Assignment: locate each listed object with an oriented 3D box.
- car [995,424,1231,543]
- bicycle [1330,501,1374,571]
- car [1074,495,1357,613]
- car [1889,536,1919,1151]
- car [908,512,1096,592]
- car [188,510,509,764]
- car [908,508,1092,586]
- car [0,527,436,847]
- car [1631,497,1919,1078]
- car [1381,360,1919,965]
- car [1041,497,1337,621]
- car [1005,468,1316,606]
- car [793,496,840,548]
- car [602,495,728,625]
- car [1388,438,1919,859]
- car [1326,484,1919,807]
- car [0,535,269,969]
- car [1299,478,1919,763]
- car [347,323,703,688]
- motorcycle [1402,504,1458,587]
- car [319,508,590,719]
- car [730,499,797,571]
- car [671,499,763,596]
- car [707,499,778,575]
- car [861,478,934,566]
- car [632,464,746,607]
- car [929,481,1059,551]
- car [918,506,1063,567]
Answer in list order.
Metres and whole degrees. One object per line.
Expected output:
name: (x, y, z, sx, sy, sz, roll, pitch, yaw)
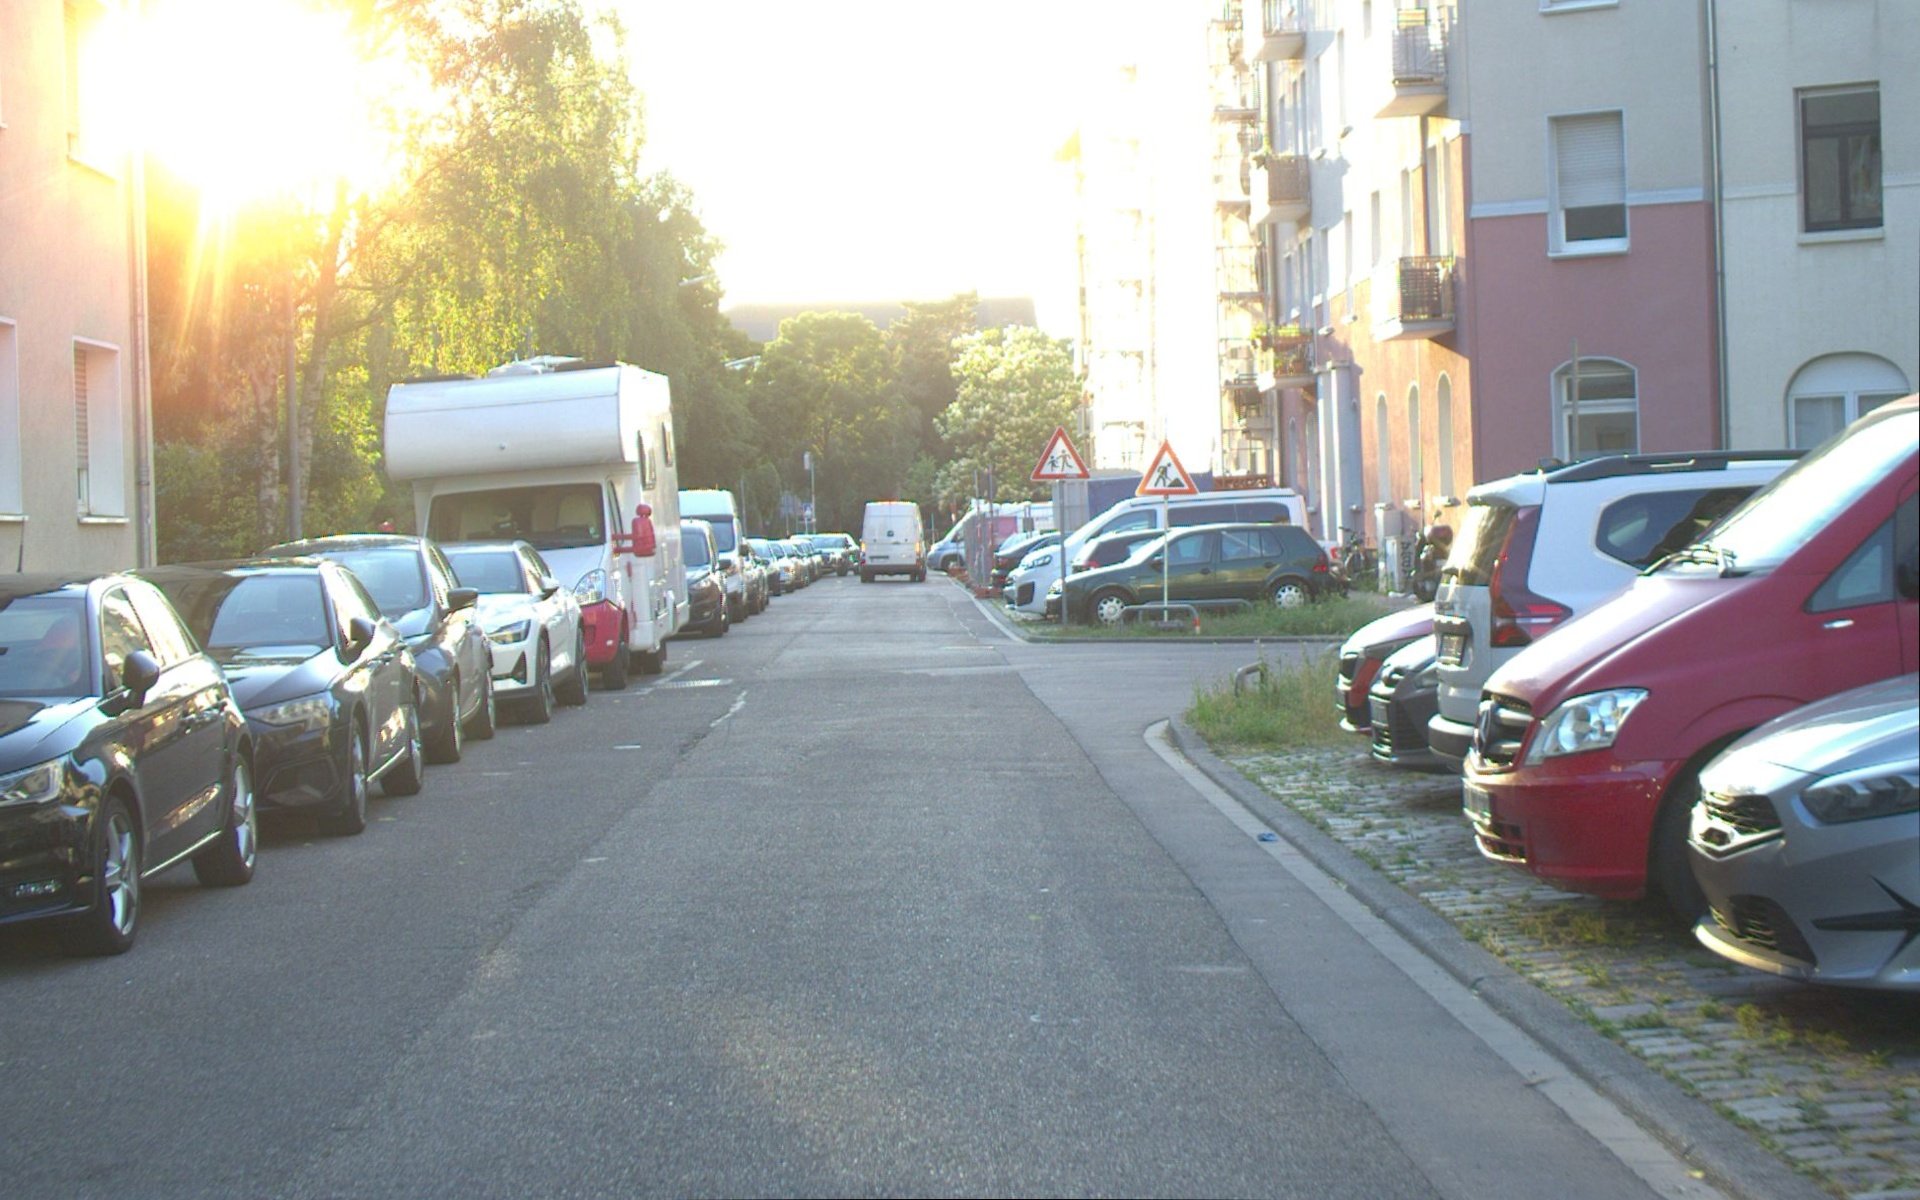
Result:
car: (2.726, -2.088, 61.901, 3.986, 2.006, 2.000, -2, 2, -4)
bicycle: (7.136, -1.177, 62.642, 0.517, 1.224, 1.981, -1, 2, -1)
car: (3.756, -0.697, 50.985, 3.987, 1.525, 1.659, -3, 2, -1)
car: (4.137, 0.471, 7.160, 3.874, 1.411, 1.636, -3, 1, -2)
car: (0.896, -1.061, 75.100, 3.987, 1.525, 1.659, -3, 2, -1)
car: (-4.232, 0.190, 24.313, 1.653, 1.559, 3.877, -3, 2, -2)
car: (0.875, -1.202, 77.023, 3.987, 1.525, 1.659, -3, 2, -1)
car: (-3.904, 0.378, 18.533, 1.653, 1.429, 3.877, -3, 2, -2)
car: (4.173, 0.368, 9.715, 4.145, 1.466, 1.636, -3, 1, -1)
car: (4.060, 0.093, 12.319, 4.722, 1.903, 2.059, -3, 1, -1)
car: (3.209, -0.593, 48.664, 3.987, 1.525, 1.659, -3, 2, -1)
car: (3.203, -1.032, 55.631, 4.813, 1.961, 1.739, -3, 2, -1)
car: (-5.407, -2.935, 129.264, 1.653, 1.824, 3.877, -3, 2, -2)
car: (-4.453, -0.635, 52.393, 1.653, 1.824, 3.877, -3, 2, -2)
car: (4.214, 0.114, 15.143, 4.323, 1.632, 1.818, -3, 1, -1)
car: (3.920, 0.178, 17.623, 3.811, 1.423, 1.635, -3, 1, -1)
car: (-3.899, 0.520, 13.571, 1.653, 1.429, 3.796, -3, 2, -2)
car: (4.035, 0.086, 20.293, 3.811, 1.423, 1.635, -3, 1, -1)
car: (-4.332, -0.995, 35.816, 2.620, 3.257, 7.697, -3, 2, 0)
motorcycle: (7.117, -0.839, 52.108, 0.517, 1.224, 1.981, -1, 2, -1)
car: (-4.117, 0.050, 28.534, 1.653, 1.536, 3.876, -3, 2, -1)
car: (-5.283, -1.785, 92.926, 1.653, 1.824, 3.877, -3, 2, -2)
car: (-4.895, -1.083, 69.556, 1.653, 1.824, 3.877, -3, 2, -2)
car: (-5.564, -1.625, 88.156, 1.653, 1.824, 3.877, -3, 2, -2)
car: (-2.073, -2.572, 112.897, 2.128, 2.708, 4.834, -3, 2, -2)
car: (-4.962, -1.213, 63.486, 1.769, 2.437, 5.146, -3, 2, -2)
car: (1.290, -3.219, 131.585, 4.813, 2.399, 1.739, -3, 2, -1)
car: (0.856, -1.812, 97.664, 3.987, 1.525, 1.659, -3, 2, -1)
